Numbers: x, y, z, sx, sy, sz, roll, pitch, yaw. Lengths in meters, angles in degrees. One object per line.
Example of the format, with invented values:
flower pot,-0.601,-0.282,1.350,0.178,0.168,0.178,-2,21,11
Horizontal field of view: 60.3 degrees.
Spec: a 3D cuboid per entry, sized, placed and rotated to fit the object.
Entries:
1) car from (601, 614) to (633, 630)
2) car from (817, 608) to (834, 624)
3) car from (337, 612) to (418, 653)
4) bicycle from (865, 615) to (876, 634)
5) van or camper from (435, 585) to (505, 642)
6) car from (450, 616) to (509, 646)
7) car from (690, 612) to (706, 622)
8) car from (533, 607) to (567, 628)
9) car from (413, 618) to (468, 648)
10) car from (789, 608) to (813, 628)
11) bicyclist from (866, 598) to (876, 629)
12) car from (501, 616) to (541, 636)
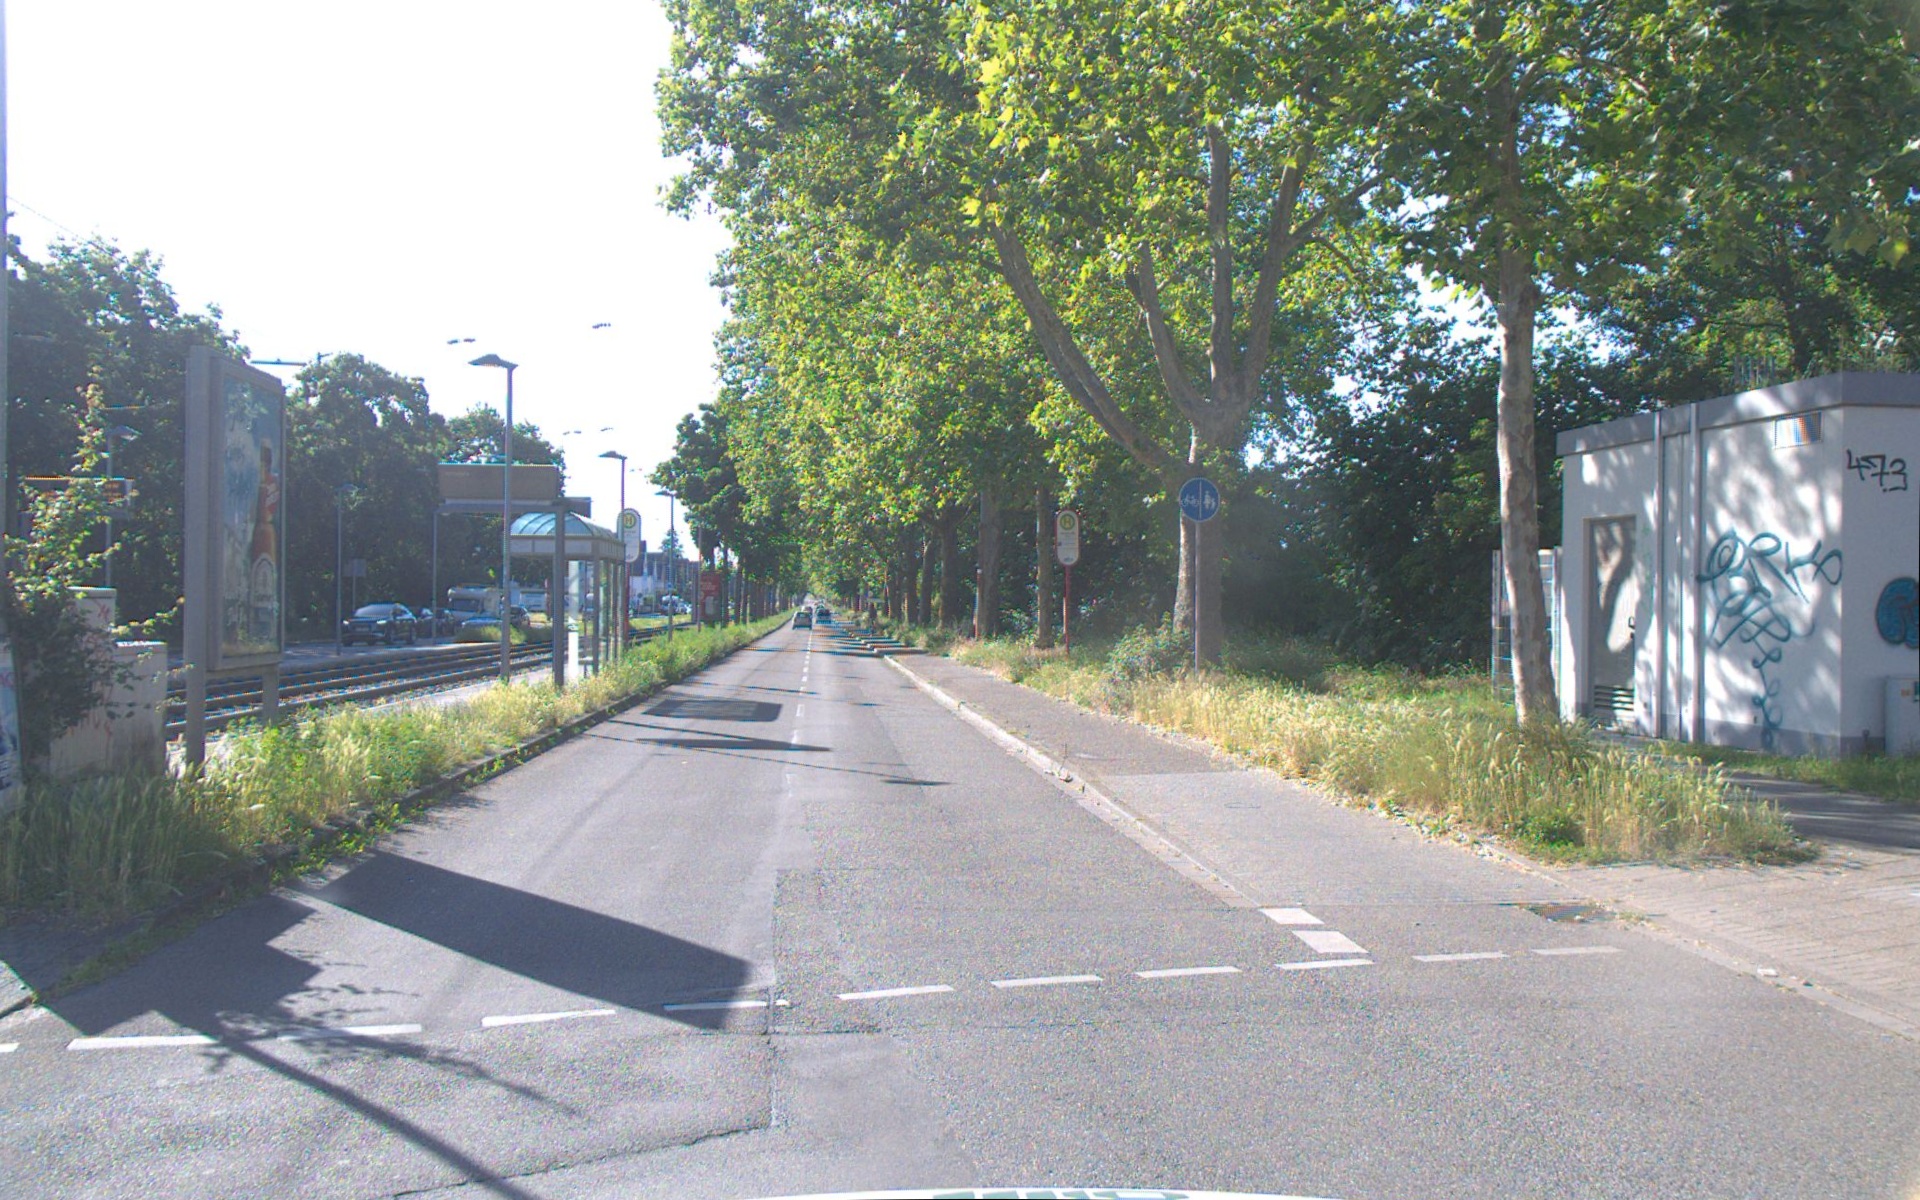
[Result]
car,-26.841,1.716,129.612,1.882,1.288,3.997,1,-1,-4
car,-14.072,1.706,173.025,1.716,1.632,3.746,2,-1,-5
car,-22.365,1.251,63.670,1.955,1.495,4.370,1,-1,-6
bicycle,-5.142,1.427,95.238,0.526,1.085,1.431,1,-1,-7
van or camper,-28.295,0.785,95.837,2.539,3.160,6.780,1,-1,-5
car,-24.515,1.582,84.543,1.954,1.495,4.372,1,-1,-4
car,-33.954,2.194,214.337,1.883,1.288,3.995,1,-1,-6
car,-31.741,1.337,128.135,1.882,1.604,3.997,1,-1,-4
car,-27.857,1.758,88.805,1.882,1.589,3.997,0,-1,-3
car,-12.764,1.457,133.033,1.831,1.512,3.551,1,-1,-5
bicyclist,-5.150,0.788,95.343,0.524,1.801,0.712,1,-1,-7
car,-29.156,1.743,109.982,1.883,1.288,3.996,1,-1,-5
